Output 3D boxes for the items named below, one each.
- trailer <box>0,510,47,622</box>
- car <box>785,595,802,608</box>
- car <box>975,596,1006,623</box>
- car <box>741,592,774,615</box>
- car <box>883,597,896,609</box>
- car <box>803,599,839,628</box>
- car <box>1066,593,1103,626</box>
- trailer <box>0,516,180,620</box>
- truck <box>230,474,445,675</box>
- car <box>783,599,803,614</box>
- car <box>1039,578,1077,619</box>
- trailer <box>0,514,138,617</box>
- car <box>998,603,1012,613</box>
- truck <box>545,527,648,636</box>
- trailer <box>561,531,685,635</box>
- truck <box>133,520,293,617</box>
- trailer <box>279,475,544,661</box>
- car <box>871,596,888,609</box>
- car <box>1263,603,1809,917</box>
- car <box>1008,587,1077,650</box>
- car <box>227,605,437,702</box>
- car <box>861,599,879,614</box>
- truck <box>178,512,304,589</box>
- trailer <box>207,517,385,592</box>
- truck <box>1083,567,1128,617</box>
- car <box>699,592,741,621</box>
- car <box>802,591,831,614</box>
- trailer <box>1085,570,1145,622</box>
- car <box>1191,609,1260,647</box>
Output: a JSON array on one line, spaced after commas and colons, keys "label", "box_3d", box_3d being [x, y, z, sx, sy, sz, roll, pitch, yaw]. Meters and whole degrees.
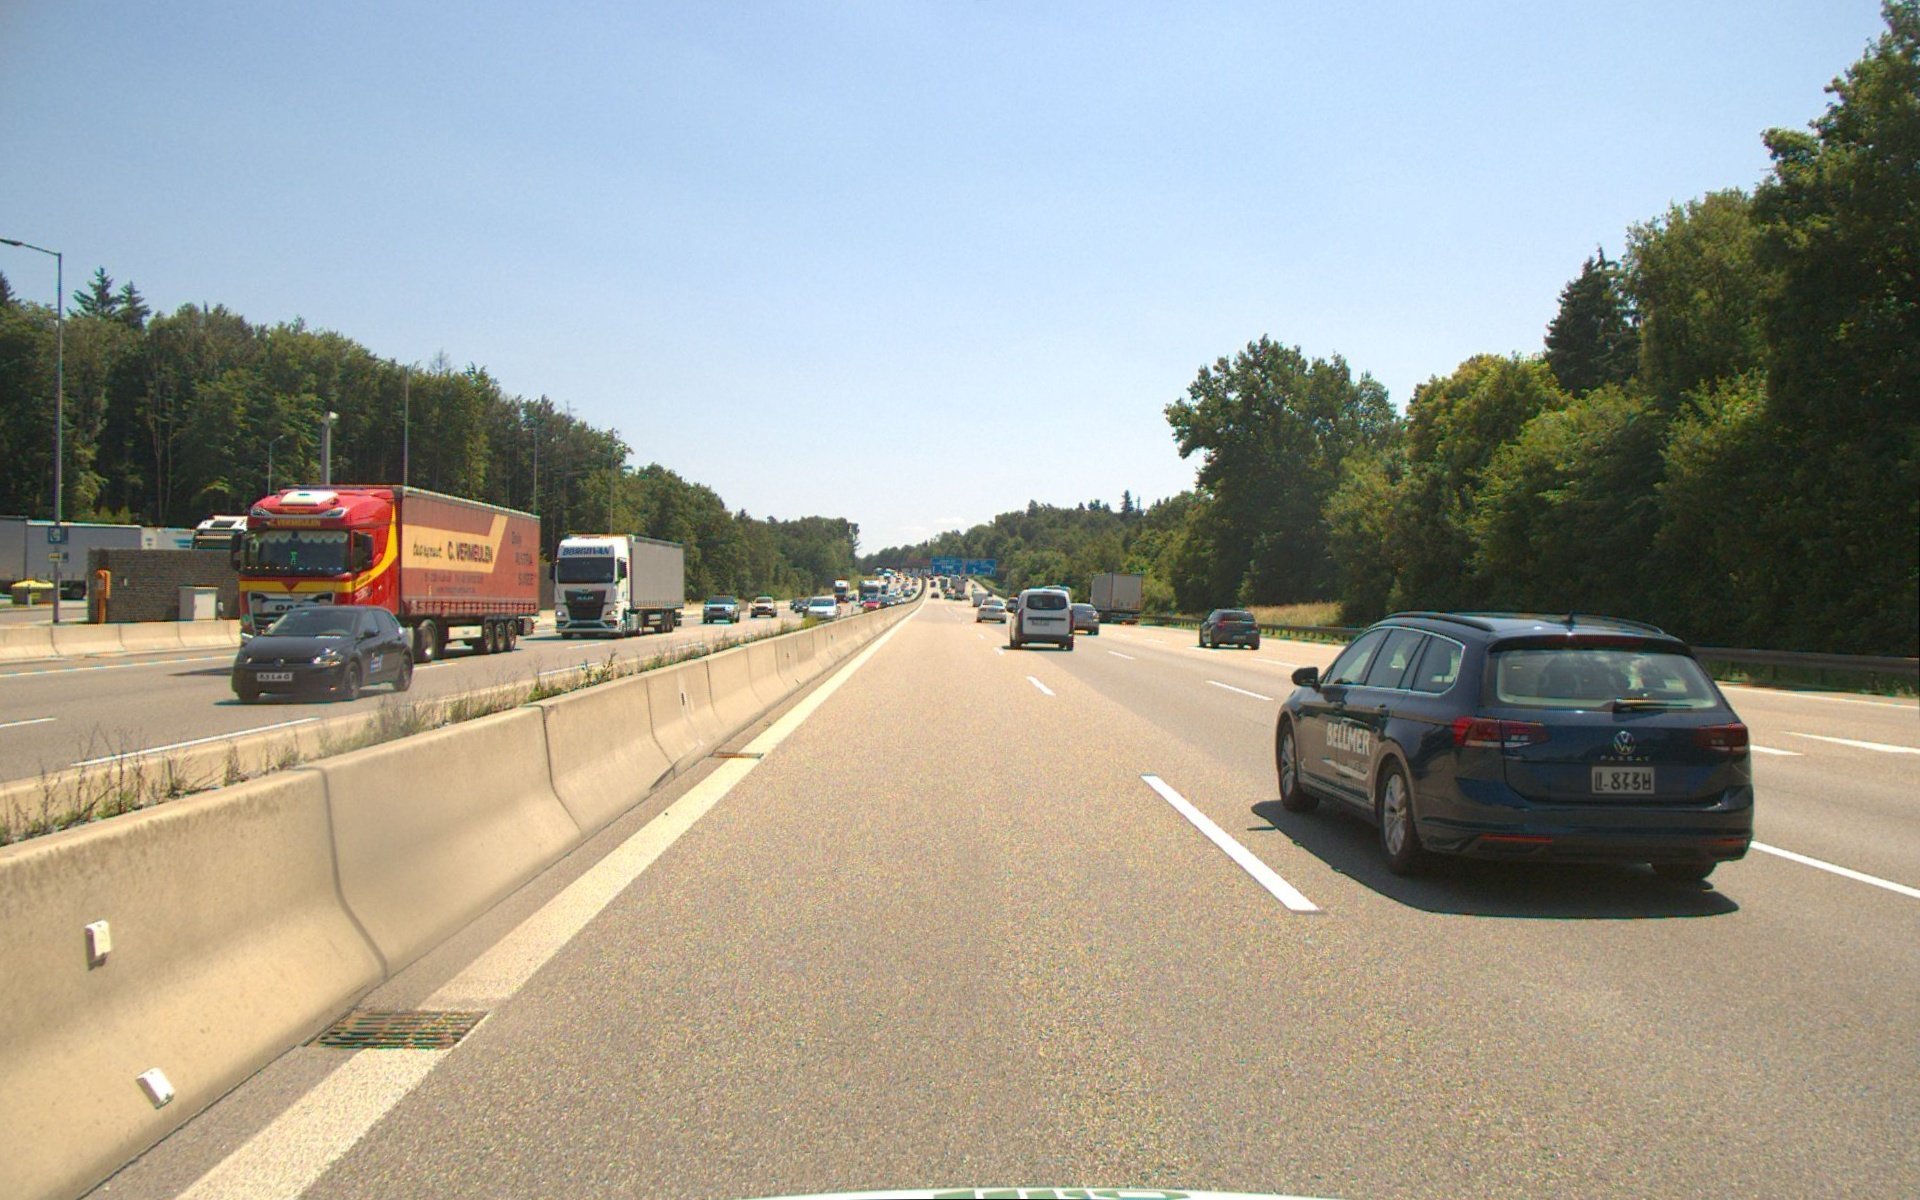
[{"label": "trailer", "box_3d": [-48.927, -1.626, 73.449, 3.076, 5.161, 14.470, 1, 0, 43]}, {"label": "car", "box_3d": [-21.858, 0.232, 217.091, 1.954, 1.649, 4.212, 0, 0, -3]}, {"label": "car", "box_3d": [1.975, 0.603, 107.293, 1.806, 1.657, 4.552, 0, 0, -1]}, {"label": "car", "box_3d": [-16.104, 0.254, 131.638, 1.953, 1.805, 5.922, 1, 0, -1]}, {"label": "car", "box_3d": [-10.106, 0.394, 237.488, 1.953, 1.692, 4.969, 0, 0, -2]}, {"label": "car", "box_3d": [-8.098, 0.773, 96.901, 1.747, 1.672, 5.461, 1, 0, -1]}, {"label": "car", "box_3d": [5.941, 0.430, 79.017, 1.473, 1.527, 3.649, 0, 0, -1]}, {"label": "trailer", "box_3d": [-48.024, -1.605, 84.718, 3.168, 5.161, 14.470, 1, 0, 43]}, {"label": "truck", "box_3d": [-13.858, -0.528, 37.393, 2.476, 4.120, 6.471, 0, 0, -1]}, {"label": "car", "box_3d": [-17.554, 0.632, 173.822, 1.695, 1.540, 4.169, 1, 0, -1]}, {"label": "car", "box_3d": [6.687, -0.131, 113.032, 2.100, 2.698, 5.709, 2, 1, -1]}, {"label": "trailer", "box_3d": [-52.815, -1.890, 94.613, 3.172, 5.711, 9.875, 1, 0, 43]}, {"label": "car", "box_3d": [6.232, 1.125, 229.840, 1.798, 1.361, 3.642, 0, 0, -1]}, {"label": "truck", "box_3d": [-14.311, -0.690, 65.592, 2.679, 4.102, 6.780, 0, 0, -1]}, {"label": "trailer", "box_3d": [-14.421, -0.679, 72.128, 2.698, 4.071, 14.464, 0, 0, -1]}, {"label": "truck", "box_3d": [-45.984, -1.849, 101.999, 3.172, 5.711, 8.433, 1, 0, 43]}, {"label": "trailer", "box_3d": [-13.968, -0.720, 43.840, 2.519, 4.120, 14.178, 0, 0, -1]}, {"label": "car", "box_3d": [-10.388, 0.332, 213.723, 1.953, 1.692, 5.752, 0, 0, -2]}, {"label": "car", "box_3d": [3.232, 0.776, 10.451, 1.694, 1.472, 4.961, 1, 0, 0]}, {"label": "car", "box_3d": [2.509, 0.543, 51.224, 1.822, 1.858, 4.611, 0, 0, -1]}, {"label": "car", "box_3d": [-9.943, 0.795, 26.548, 1.784, 1.411, 4.315, 0, 0, -1]}, {"label": "car", "box_3d": [-9.781, 0.671, 179.504, 1.695, 1.540, 5.043, 1, 0, -1]}, {"label": "truck", "box_3d": [-31.569, -2.119, 72.870, 2.867, 3.178, 6.201, 1, 0, -1]}, {"label": "trailer", "box_3d": [-31.673, -2.043, 79.850, 2.911, 3.178, 14.606, 1, 0, -1]}, {"label": "truck", "box_3d": [12.817, -0.722, 146.392, 3.189, 4.177, 5.987, 2, 1, -1]}, {"label": "car", "box_3d": [-14.985, 0.398, 103.550, 1.953, 1.805, 5.037, 1, 0, -1]}, {"label": "car", "box_3d": [-11.754, 0.190, 135.614, 1.953, 1.805, 5.922, 1, 0, -1]}, {"label": "trailer", "box_3d": [12.983, -0.450, 139.859, 3.221, 3.998, 13.887, 3, 1, -2]}, {"label": "car", "box_3d": [9.647, 0.993, 60.273, 1.637, 1.296, 4.288, 1, 0, -2]}]
